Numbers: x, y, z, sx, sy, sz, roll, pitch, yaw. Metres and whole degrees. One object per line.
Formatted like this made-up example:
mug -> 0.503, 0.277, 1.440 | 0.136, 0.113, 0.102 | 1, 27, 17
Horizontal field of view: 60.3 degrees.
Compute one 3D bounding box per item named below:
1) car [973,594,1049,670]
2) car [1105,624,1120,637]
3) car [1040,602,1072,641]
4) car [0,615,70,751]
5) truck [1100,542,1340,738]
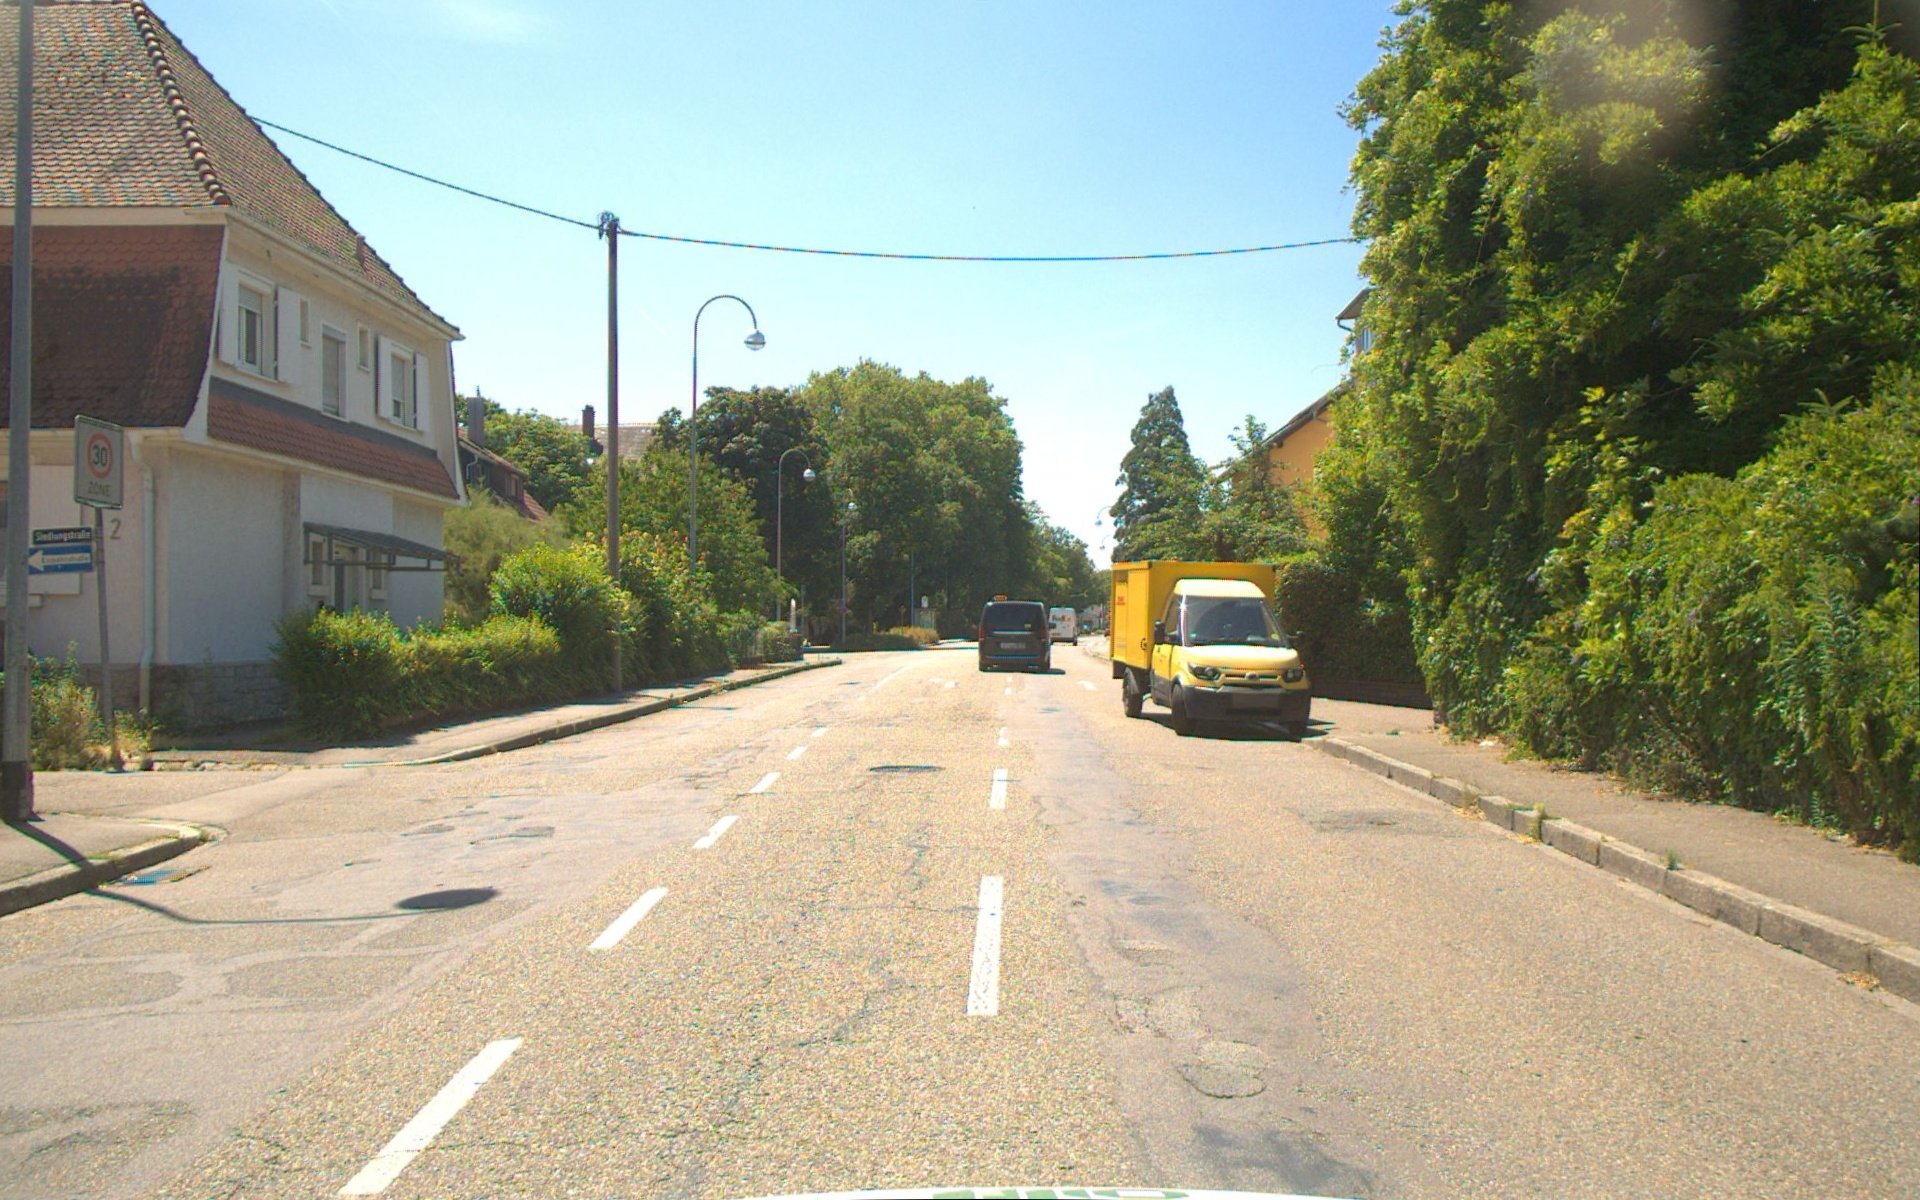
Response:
car -> 1.407, 0.826, 44.614 | 1.952, 1.926, 4.001 | 1, 0, 3
car -> 20.801, 4.194, 225.518 | 1.818, 1.672, 4.002 | 1, 0, 4
car -> 6.919, 1.501, 118.343 | 2.075, 2.725, 5.665 | 1, 0, 5
car -> -12.334, 0.952, 18.539 | 3.715, 1.449, 1.774 | -1, 0, -4
truck -> 3.462, 0.499, 23.409 | 1.974, 2.349, 6.171 | 2, 0, -4
